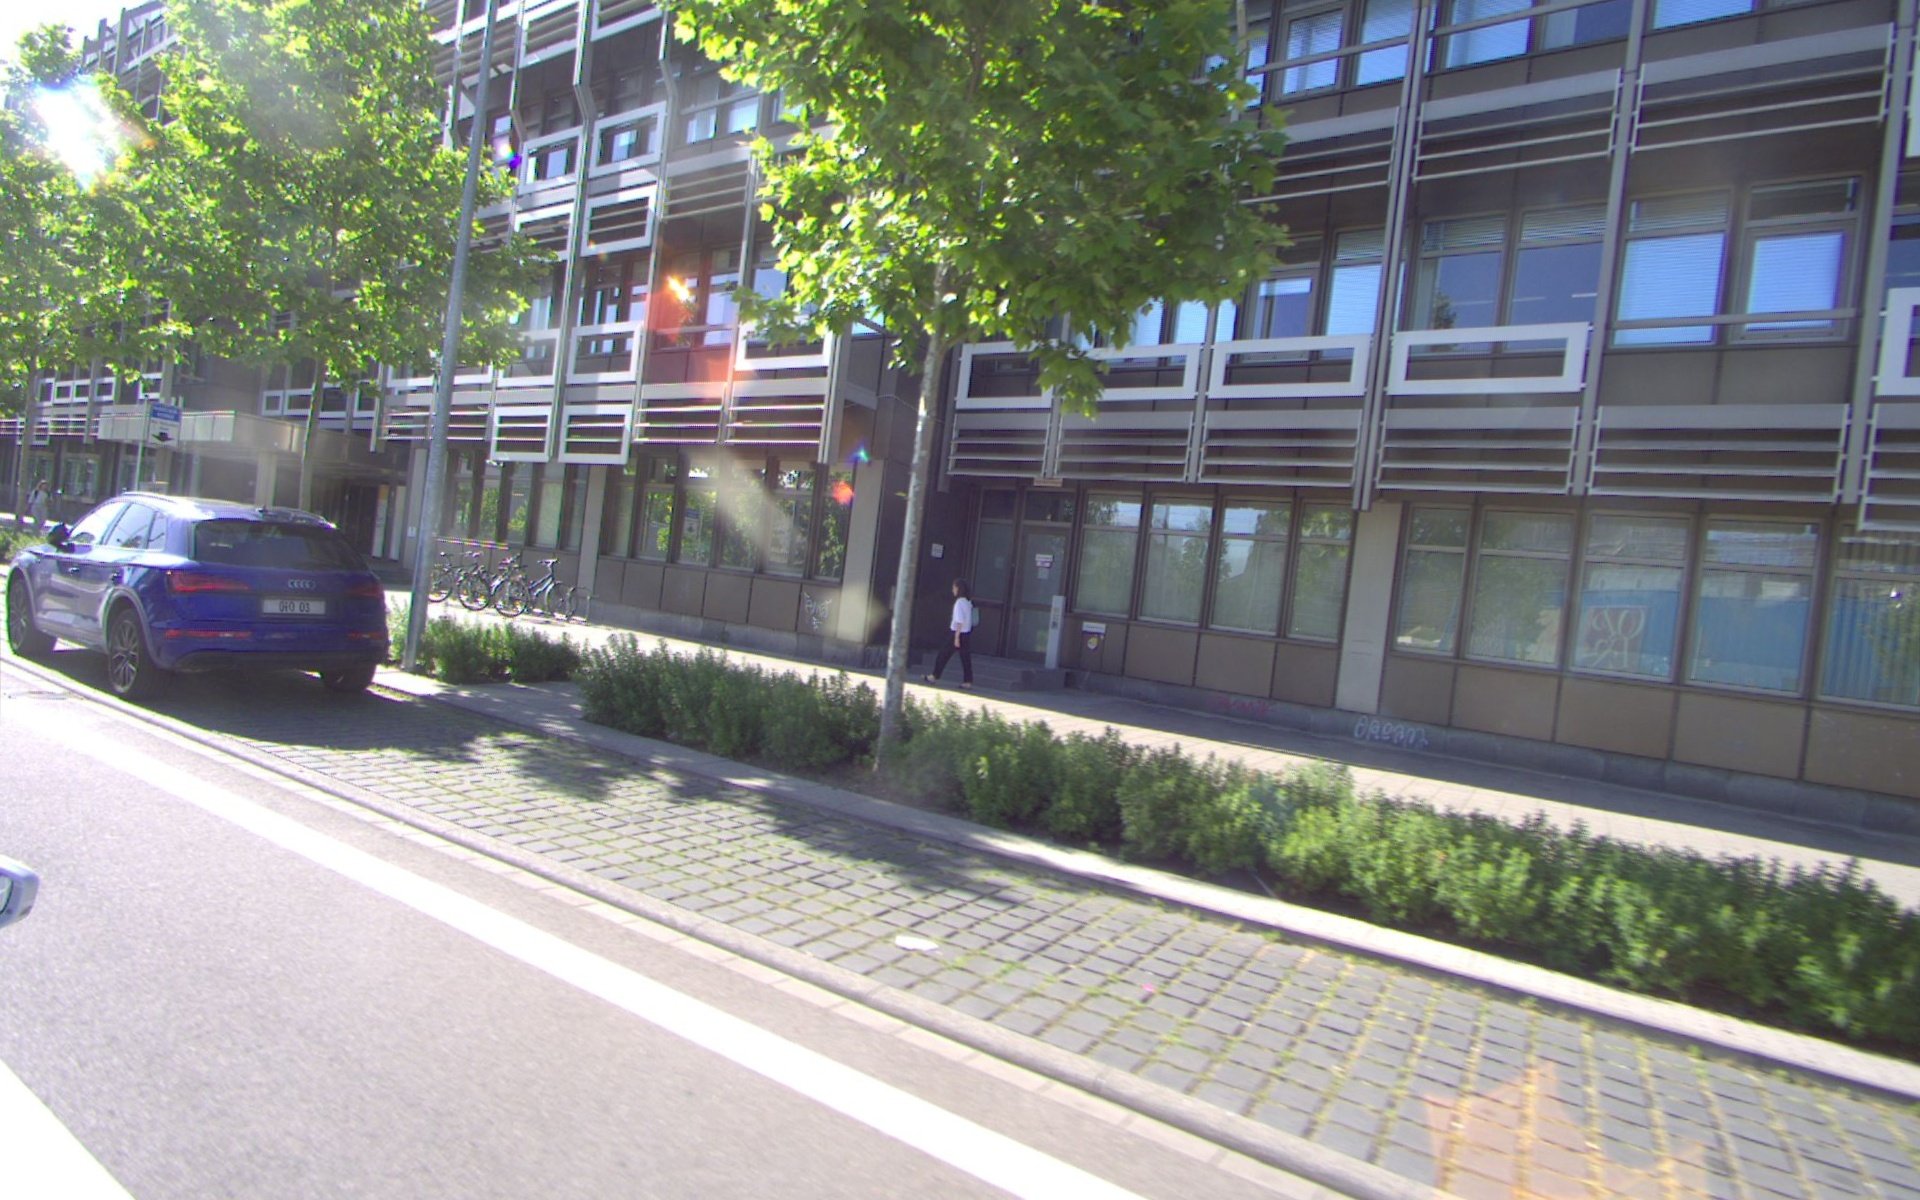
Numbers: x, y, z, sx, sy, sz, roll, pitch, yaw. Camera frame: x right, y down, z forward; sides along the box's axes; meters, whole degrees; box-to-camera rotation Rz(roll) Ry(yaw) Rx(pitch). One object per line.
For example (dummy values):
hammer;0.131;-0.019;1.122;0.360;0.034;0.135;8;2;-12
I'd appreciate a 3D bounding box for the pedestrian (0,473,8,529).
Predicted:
pedestrian;-30.355;-3.147;31.405;0.790;1.749;0.648;7;1;35

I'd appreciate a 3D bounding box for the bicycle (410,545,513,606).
bicycle;-10.320;-0.494;20.893;0.420;1.112;1.856;7;2;36

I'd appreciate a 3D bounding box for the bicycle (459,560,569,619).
bicycle;-8.253;-0.176;18.690;0.420;0.951;1.856;7;2;36

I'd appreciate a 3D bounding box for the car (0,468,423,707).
car;-7.443;-0.222;9.670;4.769;1.678;1.850;7;1;33

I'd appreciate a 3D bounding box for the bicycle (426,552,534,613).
bicycle;-9.290;-0.320;19.521;0.420;1.024;1.856;7;2;36

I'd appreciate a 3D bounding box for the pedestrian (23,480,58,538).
pedestrian;-25.293;-2.511;27.674;0.724;1.494;0.510;7;3;35

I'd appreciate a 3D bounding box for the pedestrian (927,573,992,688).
pedestrian;-0.009;0.457;15.117;0.663;1.644;0.510;7;3;35
